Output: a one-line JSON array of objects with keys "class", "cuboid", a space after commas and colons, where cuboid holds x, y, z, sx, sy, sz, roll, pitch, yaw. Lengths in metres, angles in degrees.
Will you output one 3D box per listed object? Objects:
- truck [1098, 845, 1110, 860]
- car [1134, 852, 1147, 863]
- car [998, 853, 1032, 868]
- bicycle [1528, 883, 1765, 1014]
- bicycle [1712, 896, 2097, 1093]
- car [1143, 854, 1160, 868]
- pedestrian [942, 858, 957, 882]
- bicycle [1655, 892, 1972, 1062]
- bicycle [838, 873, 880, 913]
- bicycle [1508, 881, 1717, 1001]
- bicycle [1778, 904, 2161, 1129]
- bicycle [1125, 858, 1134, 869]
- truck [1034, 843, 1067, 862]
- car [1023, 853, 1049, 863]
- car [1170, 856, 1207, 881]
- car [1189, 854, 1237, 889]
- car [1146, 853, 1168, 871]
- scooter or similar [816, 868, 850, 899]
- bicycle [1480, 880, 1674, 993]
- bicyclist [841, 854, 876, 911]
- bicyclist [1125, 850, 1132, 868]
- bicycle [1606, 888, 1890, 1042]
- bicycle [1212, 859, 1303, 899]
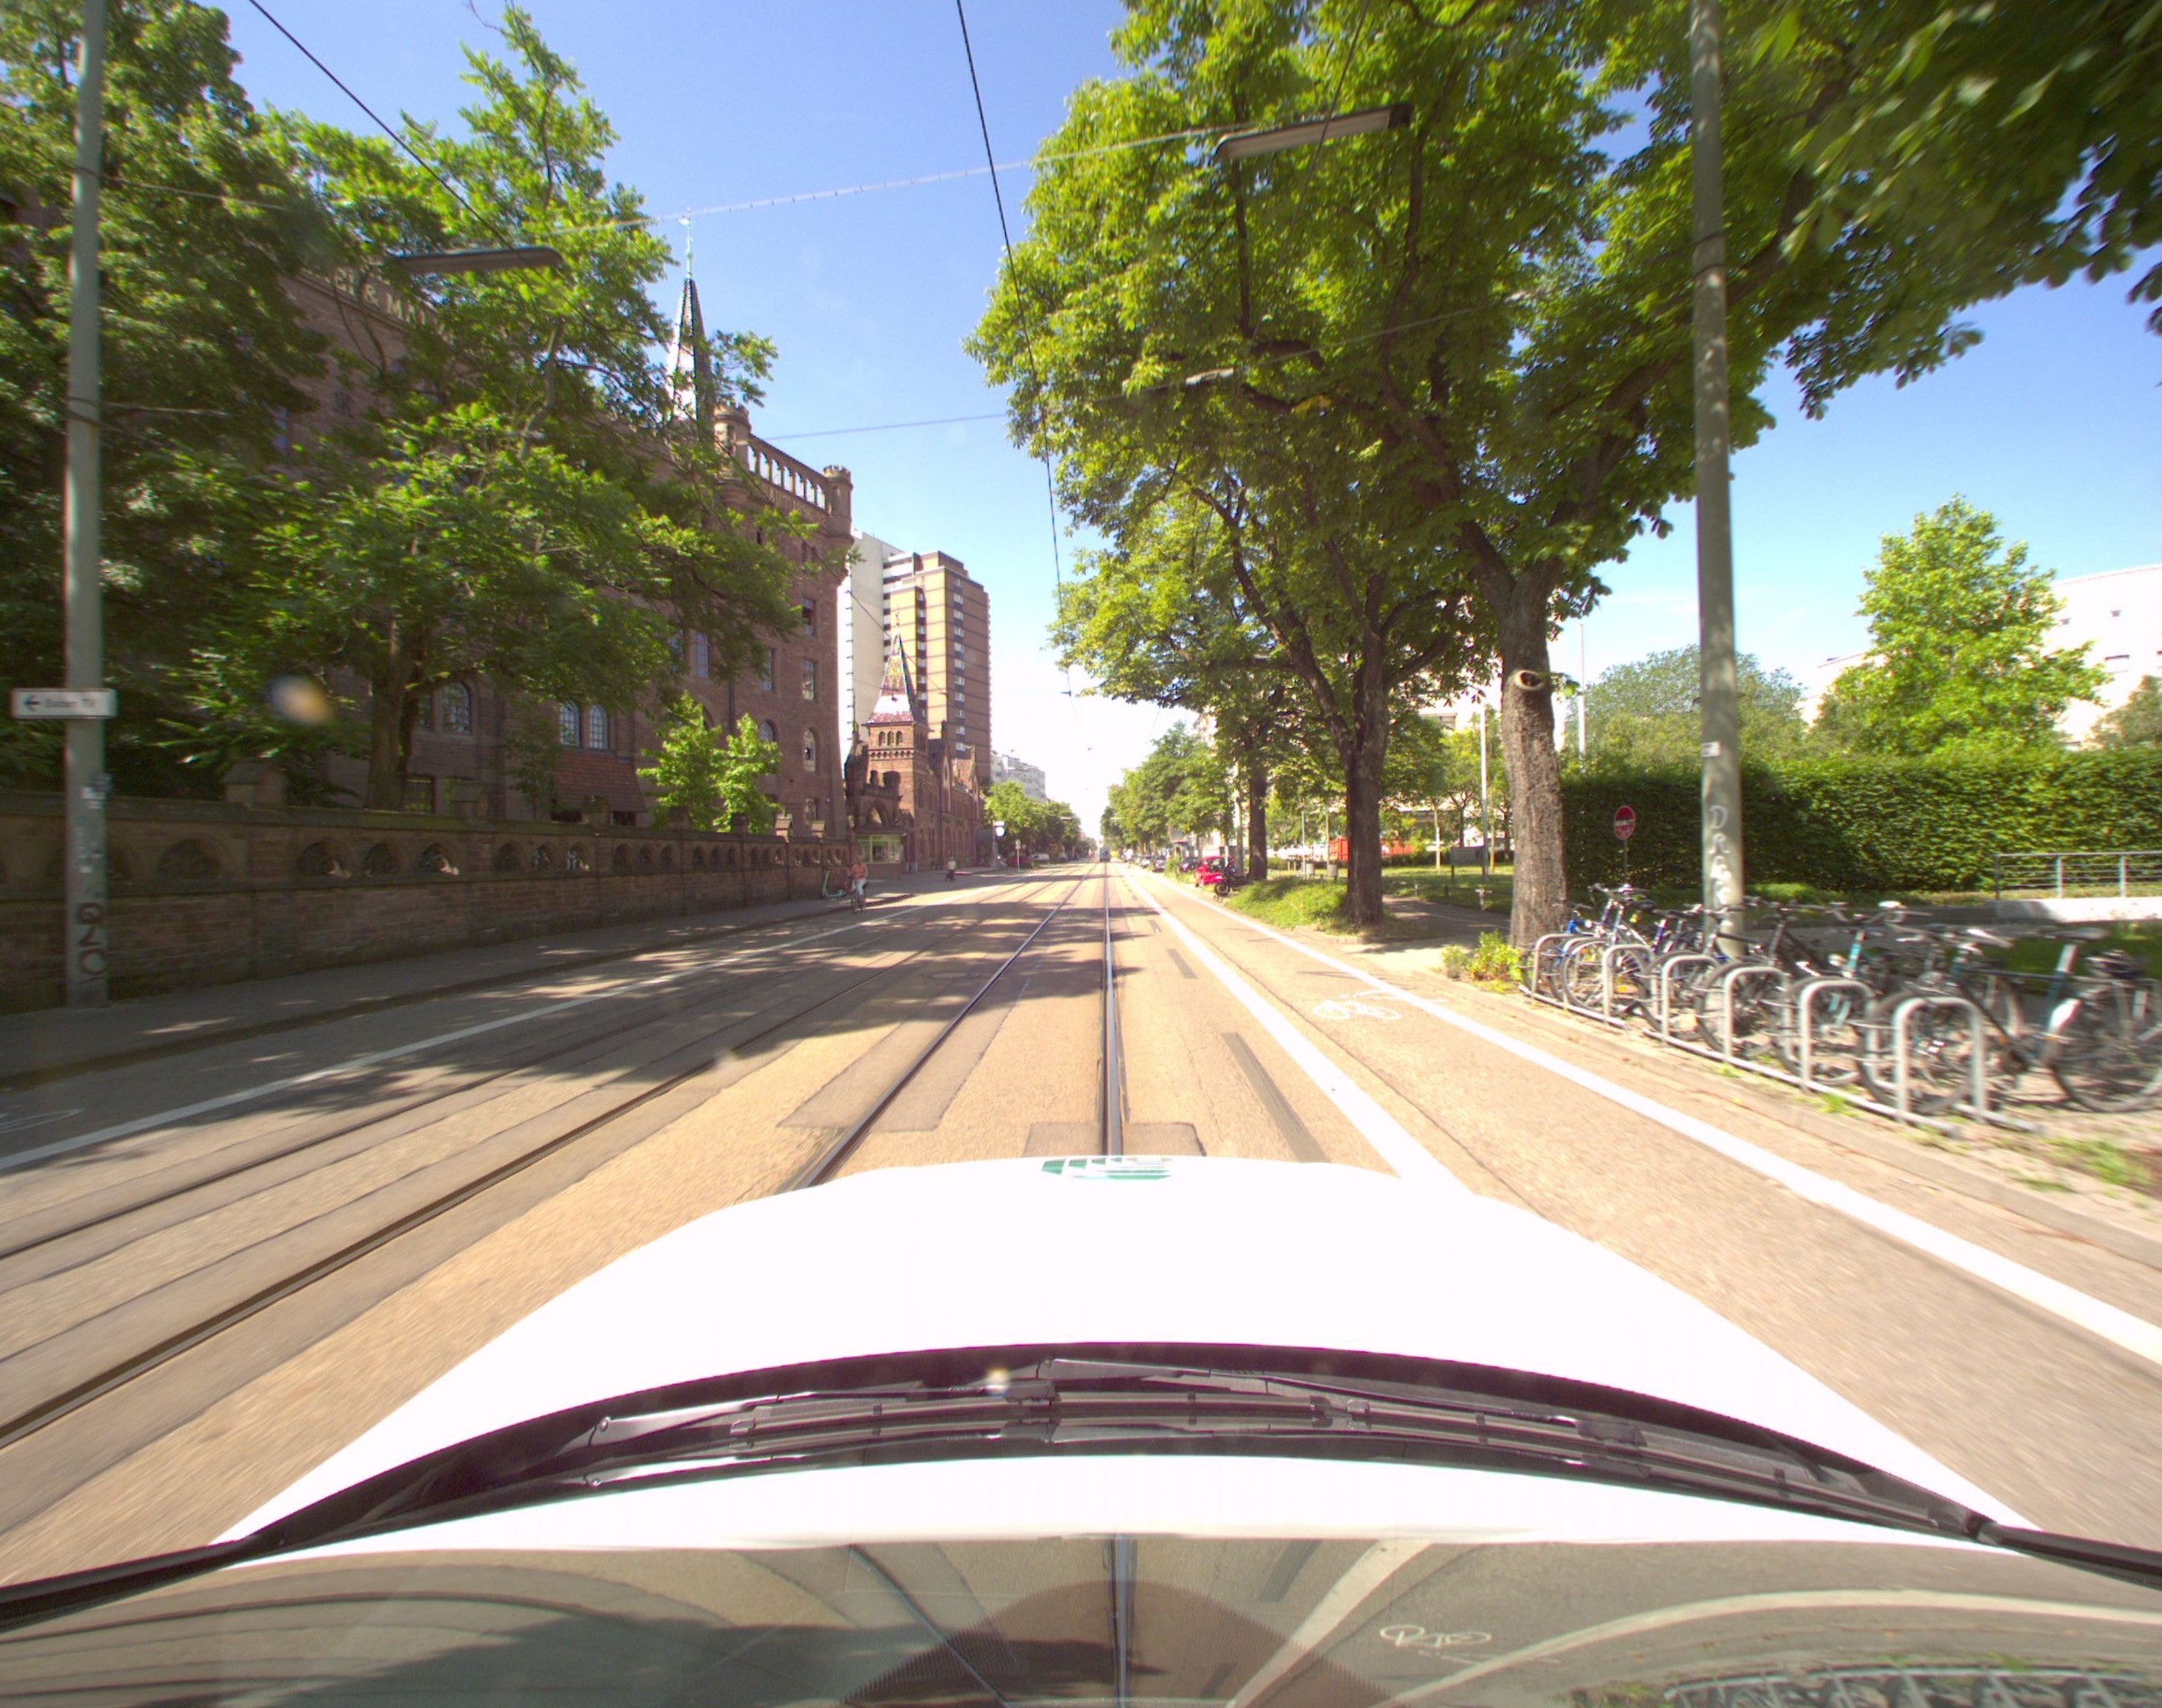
[{"class": "truck", "cuboid": [4.643, -0.292, 165.220, 2.393, 3.108, 6.039, -1, 0, 1]}, {"class": "car", "cuboid": [8.289, 0.521, 112.930, 1.623, 1.472, 4.115, -1, 0, 2]}, {"class": "car", "cuboid": [-8.513, 0.827, 105.549, 4.017, 1.810, 1.869, -1, 0, -36]}, {"class": "bicycle", "cuboid": [5.118, 0.838, 7.440, 1.718, 1.086, 0.615, -1, 0, 0]}, {"class": "bicycle", "cuboid": [5.131, 0.850, 5.157, 1.718, 1.086, 0.697, -1, 0, 0]}, {"class": "car", "cuboid": [7.513, 0.744, 87.312, 1.623, 1.472, 4.115, -1, 0, 2]}, {"class": "pedestrian", "cuboid": [-8.400, 0.994, 51.979, 0.882, 1.512, 1.472, -1, 0, -7]}, {"class": "bicycle", "cuboid": [5.152, 0.846, 5.790, 1.718, 1.086, 0.570, -1, 0, 0]}, {"class": "bicycle", "cuboid": [-6.850, 1.183, 25.251, 0.660, 1.154, 2.015, -1, 0, 2]}, {"class": "bicycle", "cuboid": [5.208, 0.840, 8.026, 1.718, 1.086, 0.478, -1, 0, 0]}, {"class": "bicycle", "cuboid": [5.007, 0.859, 4.520, 1.718, 1.086, 0.629, -1, 0, 0]}, {"class": "bicycle", "cuboid": [5.001, 0.993, 84.531, 0.852, 1.110, 2.140, 1, 0, 1]}, {"class": "truck", "cuboid": [-6.202, -0.352, 167.663, 2.788, 3.859, 10.056, -1, 0, 23]}, {"class": "car", "cuboid": [-7.615, 0.675, 138.386, 4.011, 1.750, 1.981, -1, 0, -29]}, {"class": "car", "cuboid": [6.271, 0.807, 47.739, 1.625, 1.355, 3.901, -1, 0, 0]}, {"class": "car", "cuboid": [6.085, 0.777, 37.891, 1.625, 1.472, 3.718, -1, 0, 0]}, {"class": "car", "cuboid": [6.468, 0.678, 69.410, 1.623, 1.472, 4.115, -1, 0, 2]}, {"class": "scooter or similar", "cuboid": [-9.233, 1.093, 30.359, 0.329, 1.129, 1.194, -1, 0, 40]}, {"class": "bicycle", "cuboid": [5.156, 0.844, 8.511, 1.718, 1.086, 0.478, -1, 0, 0]}, {"class": "bicyclist", "cuboid": [-6.840, 0.849, 25.115, 0.722, 1.698, 1.147, -1, 0, 1]}, {"class": "bicyclist", "cuboid": [4.943, 0.529, 84.626, 0.633, 1.871, 1.024, -1, 0, 1]}, {"class": "bicycle", "cuboid": [5.162, 0.842, 6.370, 1.718, 1.086, 0.589, -1, 0, 0]}, {"class": "bicycle", "cuboid": [6.186, 0.871, 28.718, 3.014, 1.332, 1.042, -1, 0, 4]}]
